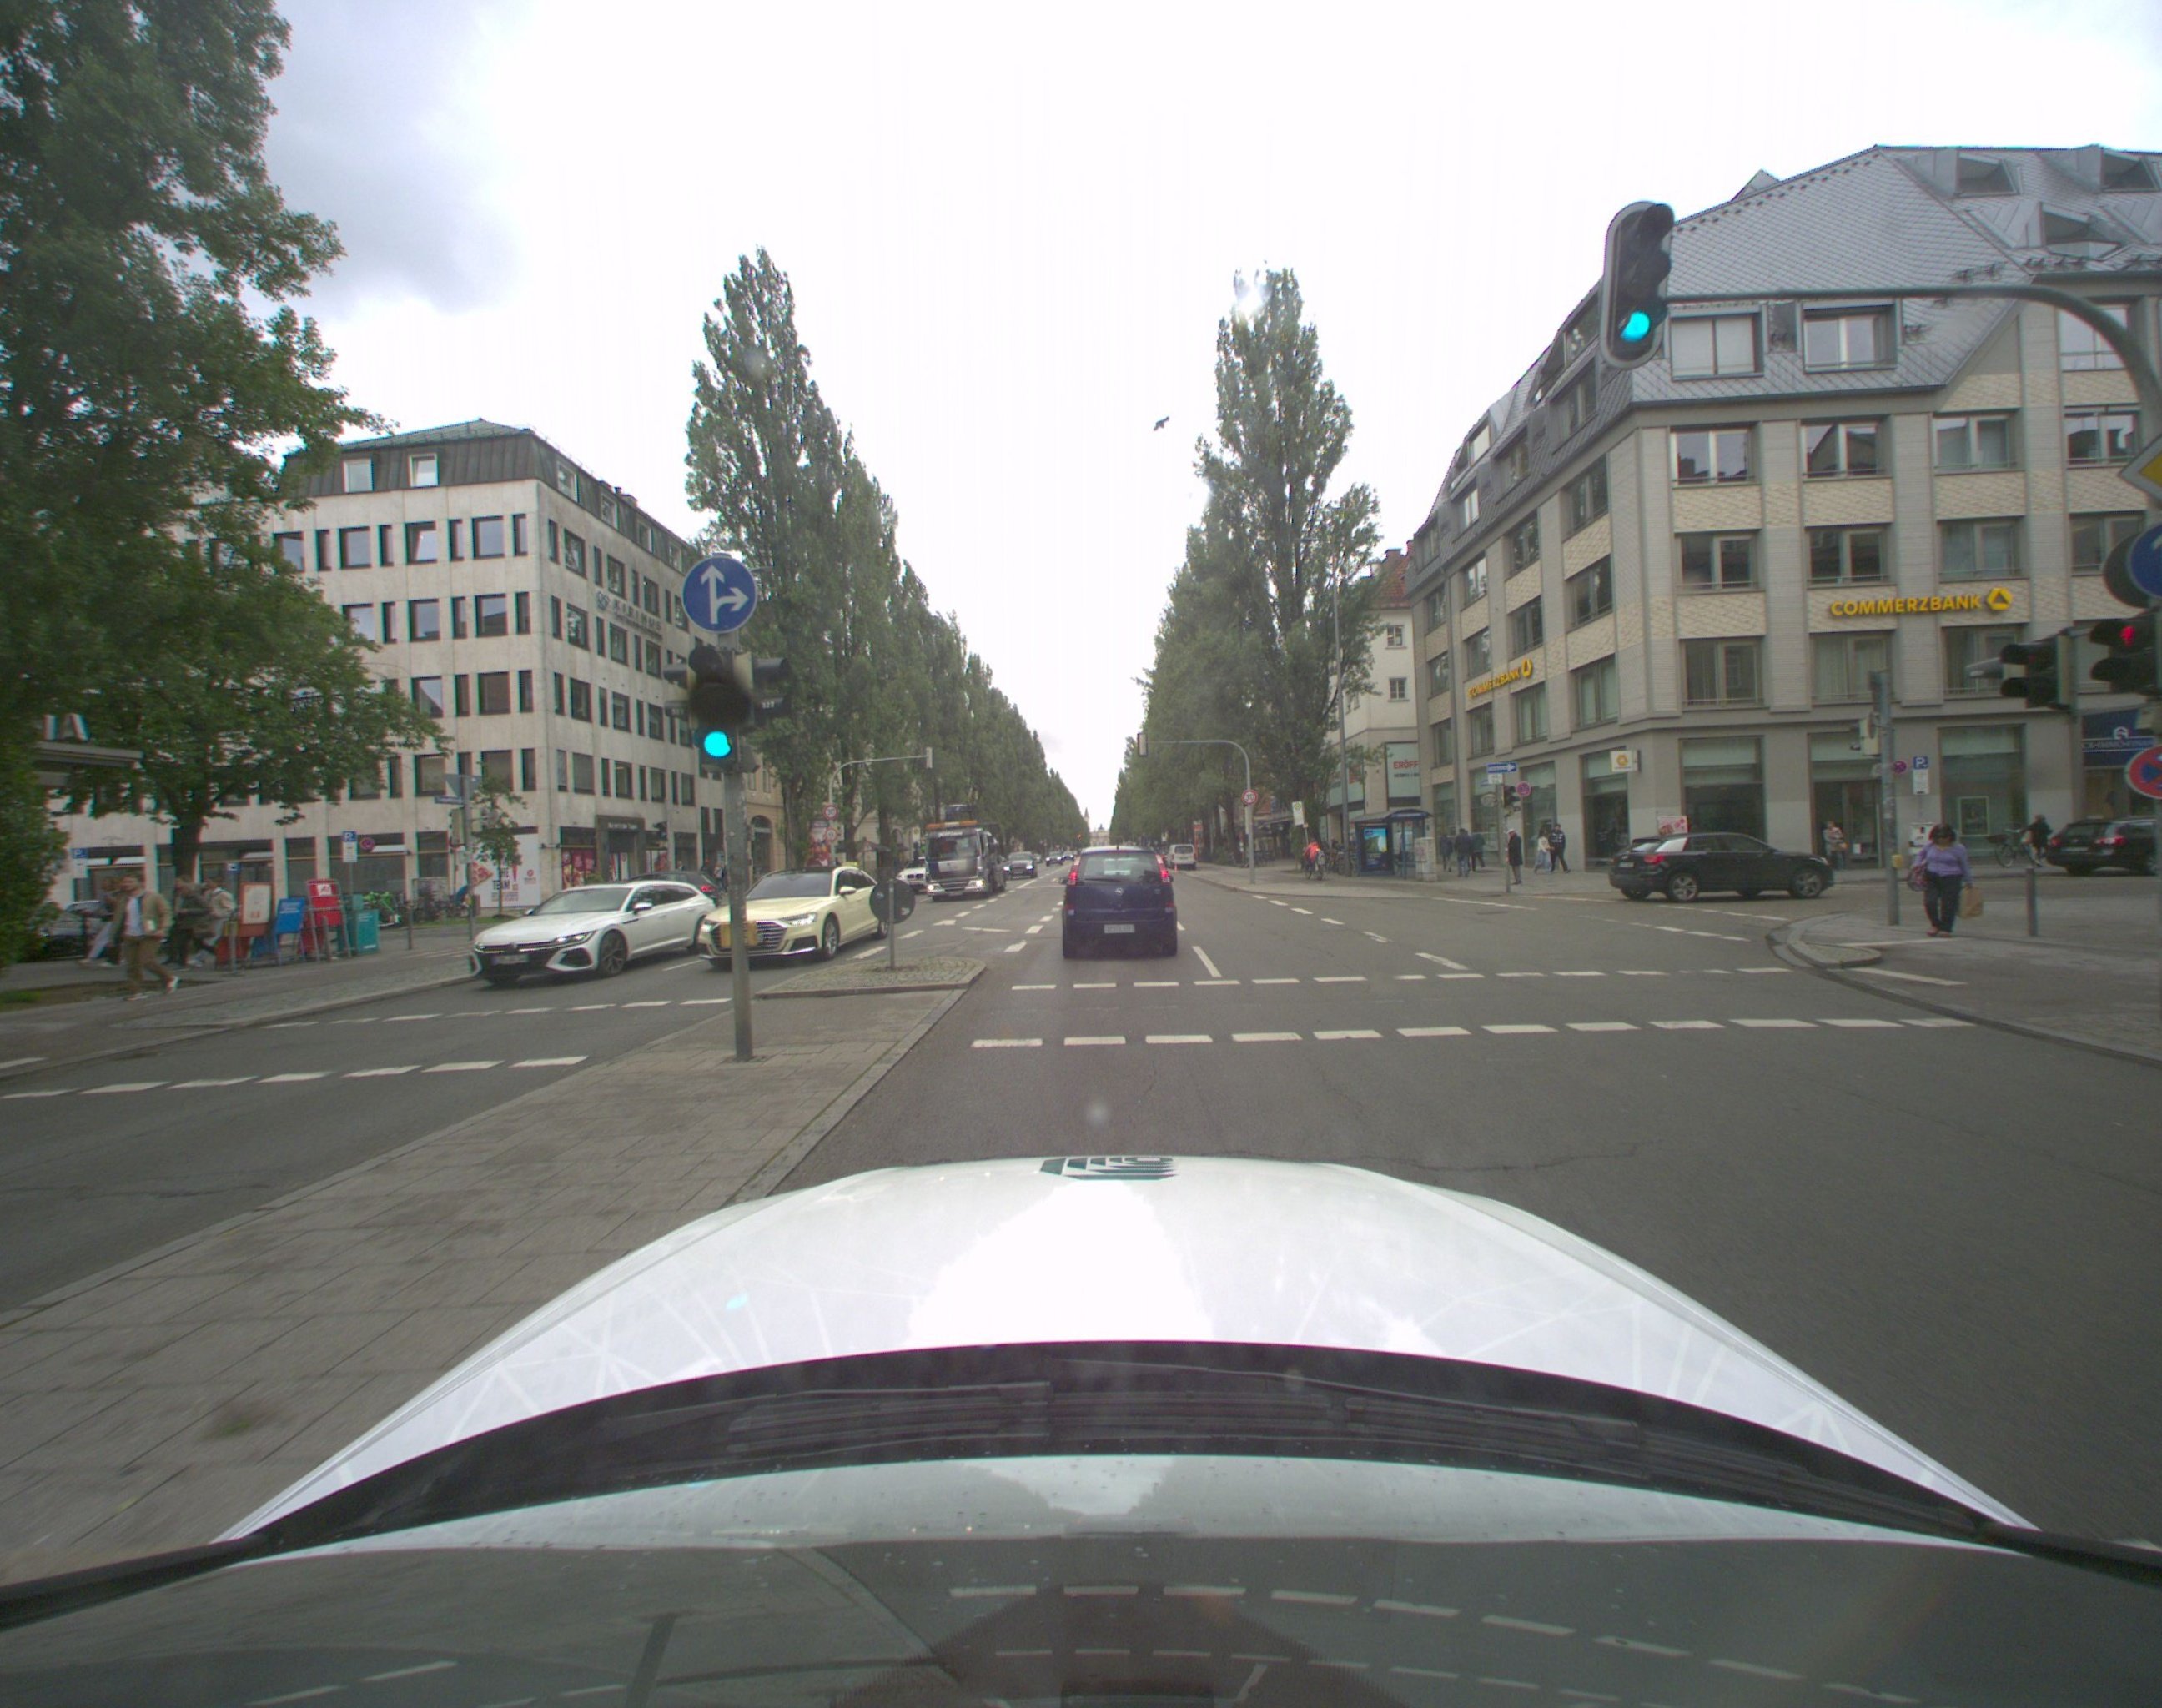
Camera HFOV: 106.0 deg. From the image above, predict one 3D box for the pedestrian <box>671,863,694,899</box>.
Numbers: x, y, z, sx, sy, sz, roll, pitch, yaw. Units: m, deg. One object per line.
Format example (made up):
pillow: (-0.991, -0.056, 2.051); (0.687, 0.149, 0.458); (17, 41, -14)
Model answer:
pedestrian: (-20.721, 1.386, 42.304); (0.696, 1.787, 0.821); (-2, 0, 2)

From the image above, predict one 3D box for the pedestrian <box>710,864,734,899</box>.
pedestrian: (-18.277, 1.390, 41.444); (0.729, 1.681, 0.978); (-1, 0, 1)

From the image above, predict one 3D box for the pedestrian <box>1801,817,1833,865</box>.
pedestrian: (23.762, -0.416, 26.307); (0.442, 1.531, 0.584); (-2, 0, -2)

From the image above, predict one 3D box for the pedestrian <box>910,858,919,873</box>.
pedestrian: (-17.090, 1.185, 83.606); (0.766, 1.537, 0.805); (-2, 0, 1)

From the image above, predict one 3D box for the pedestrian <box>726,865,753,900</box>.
pedestrian: (-16.180, 1.346, 38.618); (0.775, 1.618, 0.935); (-3, 0, 1)

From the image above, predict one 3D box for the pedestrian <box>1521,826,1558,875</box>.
pedestrian: (16.863, -0.123, 29.954); (0.747, 1.758, 1.018); (-2, 0, 3)

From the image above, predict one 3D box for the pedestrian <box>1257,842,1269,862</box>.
pedestrian: (17.520, -0.174, 78.552); (0.824, 1.841, 1.099); (-3, 0, 0)

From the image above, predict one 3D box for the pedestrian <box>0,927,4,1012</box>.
pedestrian: (-15.695, 1.370, 11.172); (0.721, 1.771, 0.778); (-3, 0, 2)

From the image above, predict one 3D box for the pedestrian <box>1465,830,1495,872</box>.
pedestrian: (16.809, -0.115, 34.319); (0.747, 1.718, 0.963); (-2, 0, 3)

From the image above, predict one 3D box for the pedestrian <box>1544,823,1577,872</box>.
pedestrian: (17.669, -0.247, 30.044); (0.747, 1.758, 0.711); (-2, 0, 2)

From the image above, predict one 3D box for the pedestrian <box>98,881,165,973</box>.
pedestrian: (-18.022, 1.365, 15.463); (0.627, 1.688, 0.519); (-1, 0, 2)

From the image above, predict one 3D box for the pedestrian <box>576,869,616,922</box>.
pedestrian: (-16.565, 1.396, 27.832); (0.724, 1.740, 0.942); (-1, 0, 1)

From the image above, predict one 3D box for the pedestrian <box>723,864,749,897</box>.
pedestrian: (-17.106, 1.316, 40.403); (0.747, 1.567, 0.990); (-2, 0, 2)

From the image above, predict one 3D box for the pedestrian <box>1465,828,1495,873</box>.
pedestrian: (16.096, -0.149, 32.873); (0.747, 1.758, 0.859); (-3, -2, 3)

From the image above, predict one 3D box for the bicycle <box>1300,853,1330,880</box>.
bicycle: (9.825, 0.501, 34.268); (0.624, 1.086, 2.264); (-3, 0, 1)

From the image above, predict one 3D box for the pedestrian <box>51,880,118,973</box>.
pedestrian: (-18.834, 1.349, 15.399); (0.584, 1.691, 0.514); (-2, 0, 1)

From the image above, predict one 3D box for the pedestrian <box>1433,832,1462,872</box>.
pedestrian: (15.859, -0.100, 35.270); (0.747, 1.677, 0.963); (-3, 0, 3)

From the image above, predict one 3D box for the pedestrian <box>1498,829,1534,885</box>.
pedestrian: (13.856, 0.091, 25.982); (0.705, 1.758, 0.753); (-2, 0, 2)

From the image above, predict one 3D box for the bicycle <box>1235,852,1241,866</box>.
bicycle: (11.666, 0.360, 60.603); (0.362, 1.038, 1.735); (-3, 0, 9)

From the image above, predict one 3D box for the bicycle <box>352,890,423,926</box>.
bicycle: (-25.846, 1.992, 30.384); (0.412, 1.184, 2.073); (-2, 0, 18)

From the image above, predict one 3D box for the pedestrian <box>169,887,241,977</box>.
pedestrian: (-16.108, 1.421, 14.983); (0.654, 1.583, 0.548); (-2, 0, 2)

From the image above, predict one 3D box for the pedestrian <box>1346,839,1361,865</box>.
pedestrian: (17.905, -0.108, 53.491); (0.649, 1.662, 0.963); (-3, 0, 2)

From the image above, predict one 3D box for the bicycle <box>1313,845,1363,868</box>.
bicycle: (12.527, 0.124, 39.726); (2.140, 1.017, 0.874); (-3, 0, 1)

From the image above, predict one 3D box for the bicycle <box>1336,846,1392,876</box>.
bicycle: (12.657, 0.301, 36.418); (2.307, 1.252, 0.477); (-3, 0, 0)

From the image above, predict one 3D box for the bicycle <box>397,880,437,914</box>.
bicycle: (-24.707, 1.581, 30.327); (0.416, 1.184, 1.996); (-3, 0, -18)

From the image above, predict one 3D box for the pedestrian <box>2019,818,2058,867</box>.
pedestrian: (28.349, -0.338, 24.118); (0.442, 1.405, 0.584); (-2, 0, -2)

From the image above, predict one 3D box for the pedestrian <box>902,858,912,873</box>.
pedestrian: (-17.910, 1.207, 83.857); (0.766, 1.537, 0.805); (-2, 0, 1)

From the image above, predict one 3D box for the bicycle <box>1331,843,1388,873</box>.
bicycle: (12.662, 0.177, 37.018); (2.335, 1.252, 0.633); (-3, 0, 0)

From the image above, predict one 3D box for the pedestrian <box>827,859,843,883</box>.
pedestrian: (-18.292, 1.229, 60.642); (0.840, 1.744, 0.955); (-1, 0, 2)

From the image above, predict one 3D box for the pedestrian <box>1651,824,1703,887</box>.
pedestrian: (16.266, 0.056, 22.251); (0.747, 1.636, 0.734); (-4, -2, 3)

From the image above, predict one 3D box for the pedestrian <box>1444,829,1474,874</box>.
pedestrian: (15.309, -0.084, 32.985); (0.747, 1.758, 0.859); (-3, -2, 3)

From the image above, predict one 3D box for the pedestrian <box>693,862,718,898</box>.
pedestrian: (-19.091, 1.324, 41.435); (0.797, 1.787, 0.912); (-1, 0, 1)

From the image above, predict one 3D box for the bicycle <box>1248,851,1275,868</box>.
bicycle: (12.238, 0.377, 55.181); (1.758, 1.044, 0.482); (-2, 0, -11)

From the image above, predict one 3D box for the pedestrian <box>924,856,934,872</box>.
pedestrian: (-16.060, 1.068, 85.954); (0.731, 1.673, 0.953); (-2, 0, 1)

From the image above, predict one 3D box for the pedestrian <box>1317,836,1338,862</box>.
pedestrian: (16.334, -0.311, 54.001); (0.992, 1.673, 0.816); (-3, 0, -38)

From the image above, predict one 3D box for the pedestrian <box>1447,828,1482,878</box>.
pedestrian: (14.528, -0.047, 30.863); (0.815, 1.818, 0.890); (-2, 0, 0)
